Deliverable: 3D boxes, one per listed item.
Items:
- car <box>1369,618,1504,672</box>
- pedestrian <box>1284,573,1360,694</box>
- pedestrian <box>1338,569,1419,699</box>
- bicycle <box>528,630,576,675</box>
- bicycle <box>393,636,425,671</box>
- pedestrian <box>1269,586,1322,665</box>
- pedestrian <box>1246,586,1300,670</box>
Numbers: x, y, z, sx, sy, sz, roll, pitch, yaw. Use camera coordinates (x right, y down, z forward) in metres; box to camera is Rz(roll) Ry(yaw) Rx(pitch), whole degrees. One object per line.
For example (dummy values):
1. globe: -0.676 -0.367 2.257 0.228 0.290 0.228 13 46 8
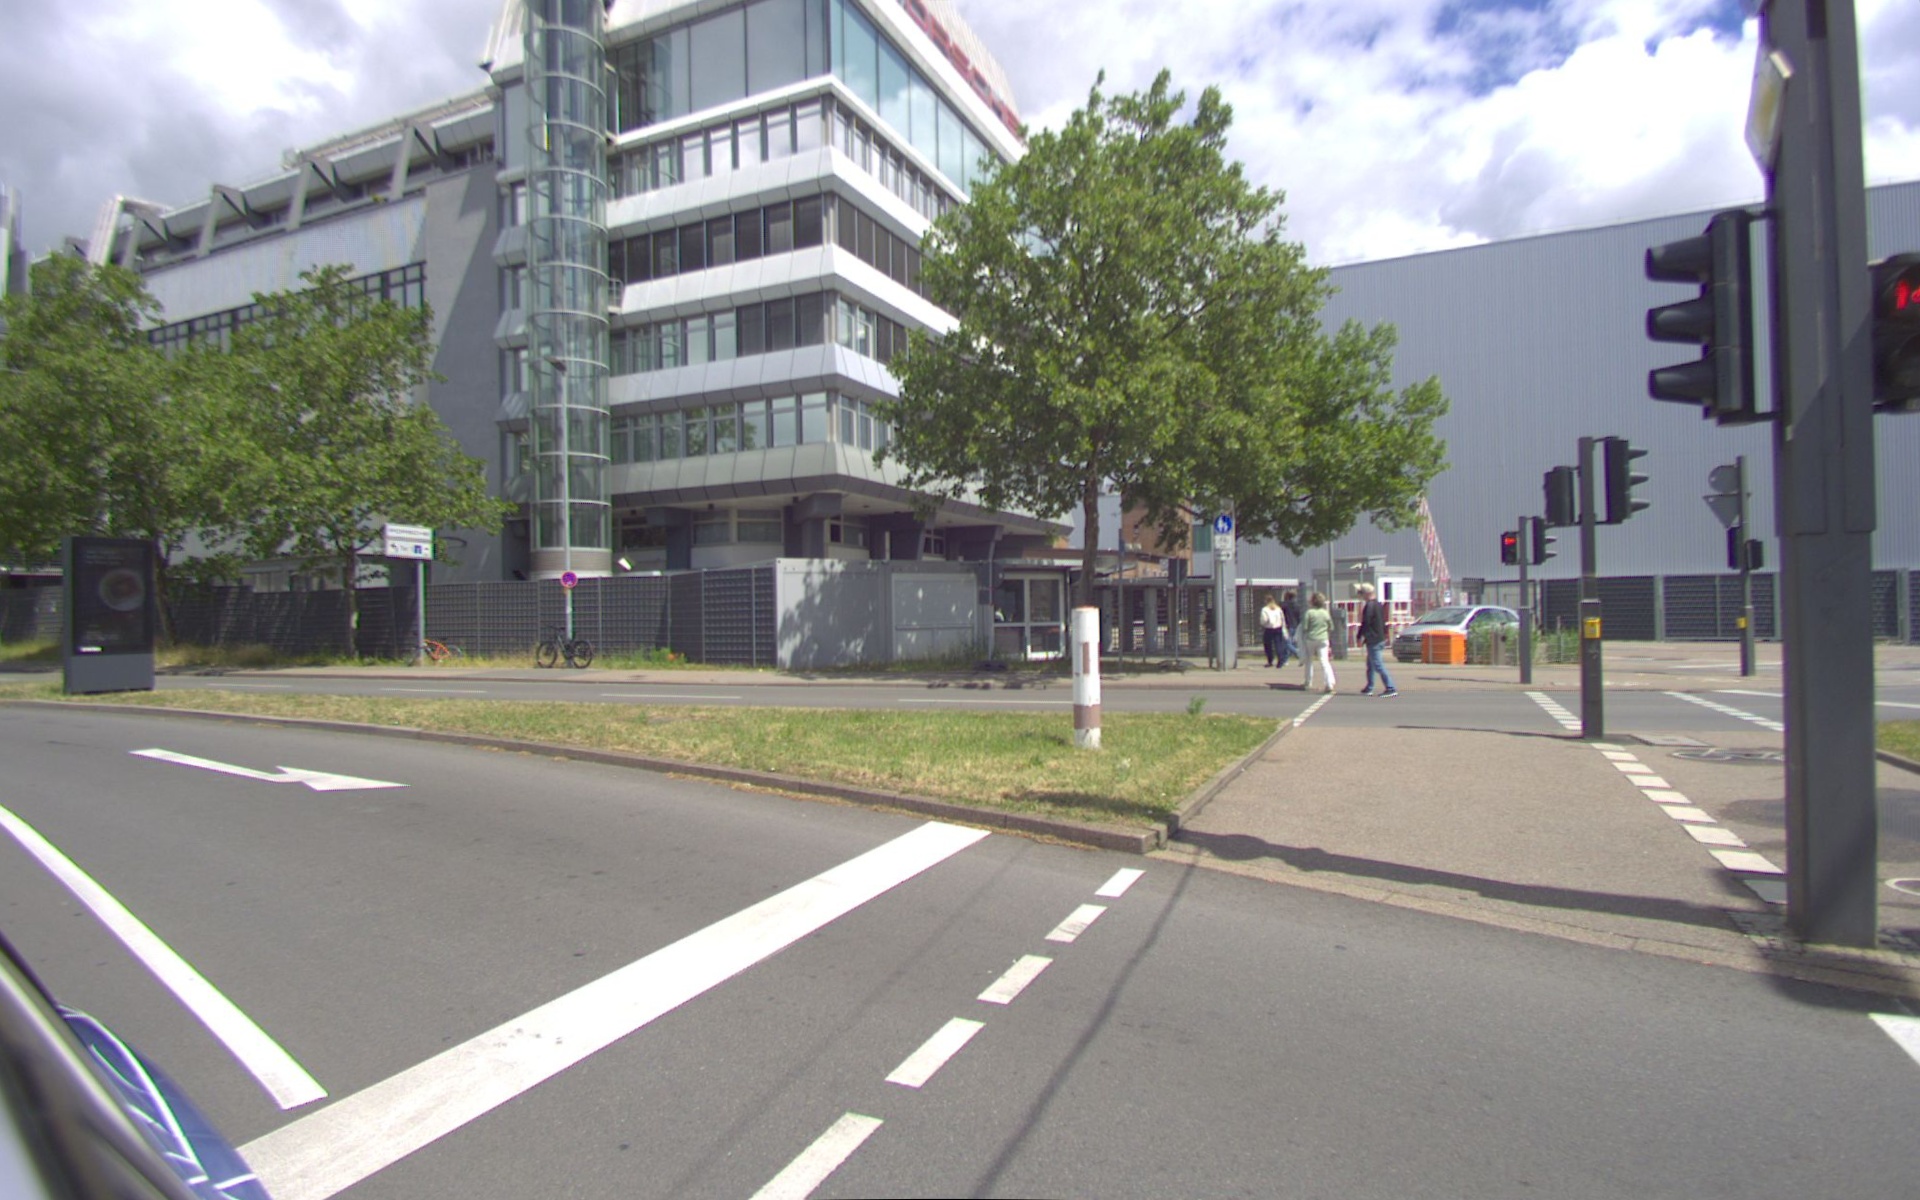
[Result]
1. car: 13.034 1.198 27.604 3.935 1.370 1.724 1 -2 -38
2. pedestrian: 6.404 0.560 17.902 0.951 2.070 0.942 0 1 43
3. pedestrian: 6.913 0.532 16.701 0.951 2.070 0.942 0 1 43
4. bicycle: -10.830 1.386 26.850 1.478 1.140 0.294 0 1 28
5. bicycle: -16.387 1.582 30.075 1.249 1.013 0.294 0 1 35
6. pedestrian: 7.725 0.578 23.328 1.024 1.787 0.863 -1 1 11
7. pedestrian: 6.864 0.601 22.243 1.024 1.787 0.863 -1 1 11
